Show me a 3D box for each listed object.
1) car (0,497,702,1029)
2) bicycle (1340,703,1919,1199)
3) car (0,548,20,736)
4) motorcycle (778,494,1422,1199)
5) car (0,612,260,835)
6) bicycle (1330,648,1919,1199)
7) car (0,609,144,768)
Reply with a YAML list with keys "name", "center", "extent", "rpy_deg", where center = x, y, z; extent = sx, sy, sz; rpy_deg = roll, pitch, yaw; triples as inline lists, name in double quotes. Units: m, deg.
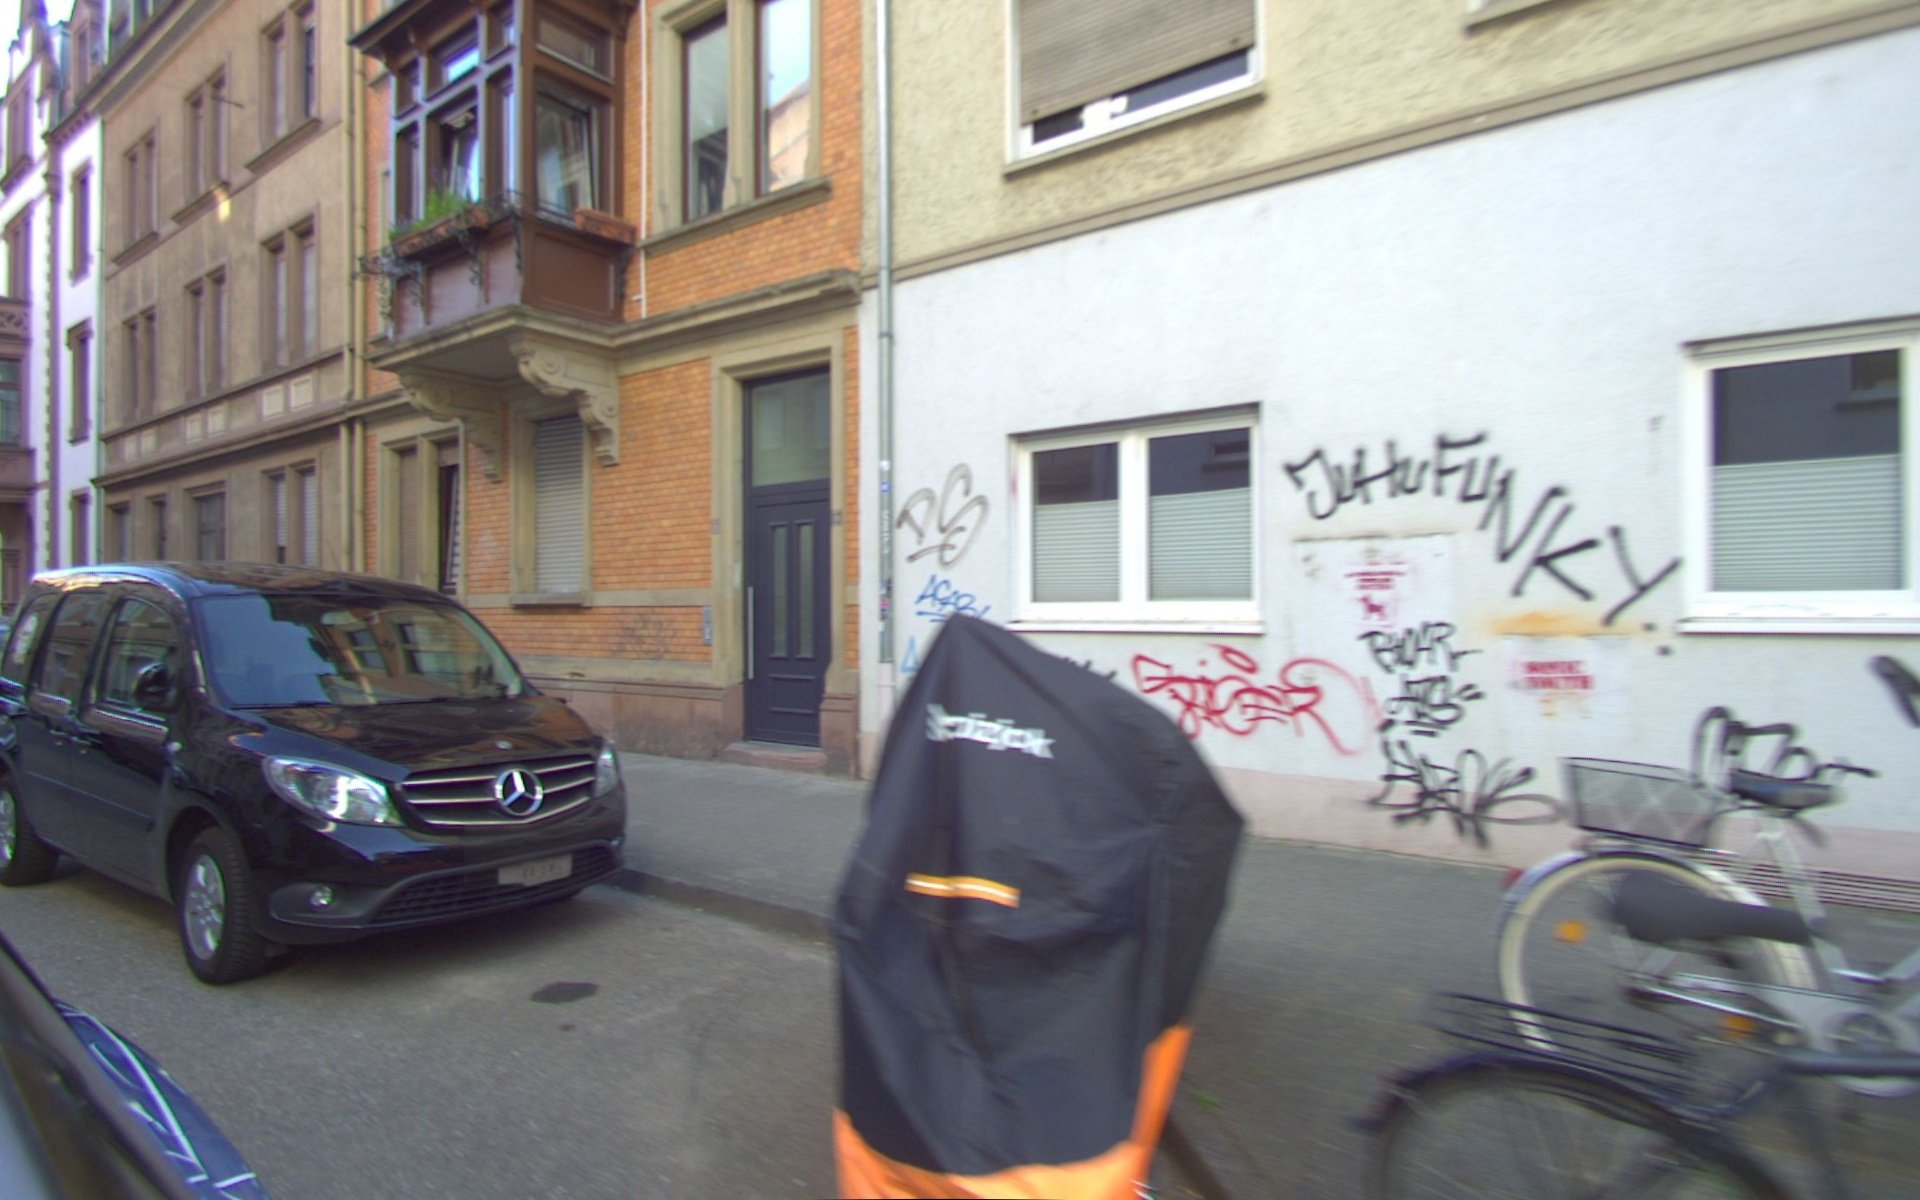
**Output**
- name: "car"
  center: [-3.541, 0.575, 5.350]
  extent: [4.323, 1.779, 1.804]
  rpy_deg: [-1, -1, 34]
- name: "bicycle"
  center: [1.410, 0.770, 1.286]
  extent: [1.663, 1.148, 0.421]
  rpy_deg: [-1, 2, 38]
- name: "car"
  center: [-15.774, 0.563, 14.532]
  extent: [5.866, 2.527, 2.156]
  rpy_deg: [-1, -3, 36]
- name: "motorcycle"
  center: [0.370, 0.617, 2.675]
  extent: [0.893, 1.493, 2.513]
  rpy_deg: [-1, 0, 9]
- name: "car"
  center: [-7.490, 0.861, 8.407]
  extent: [3.637, 1.460, 1.662]
  rpy_deg: [-1, 0, 36]
- name: "bicycle"
  center: [1.958, 0.723, 2.533]
  extent: [1.865, 1.164, 0.542]
  rpy_deg: [-1, -1, 32]
- name: "car"
  center: [-11.010, 0.908, 11.293]
  extent: [3.991, 1.564, 1.976]
  rpy_deg: [-1, -2, 36]
